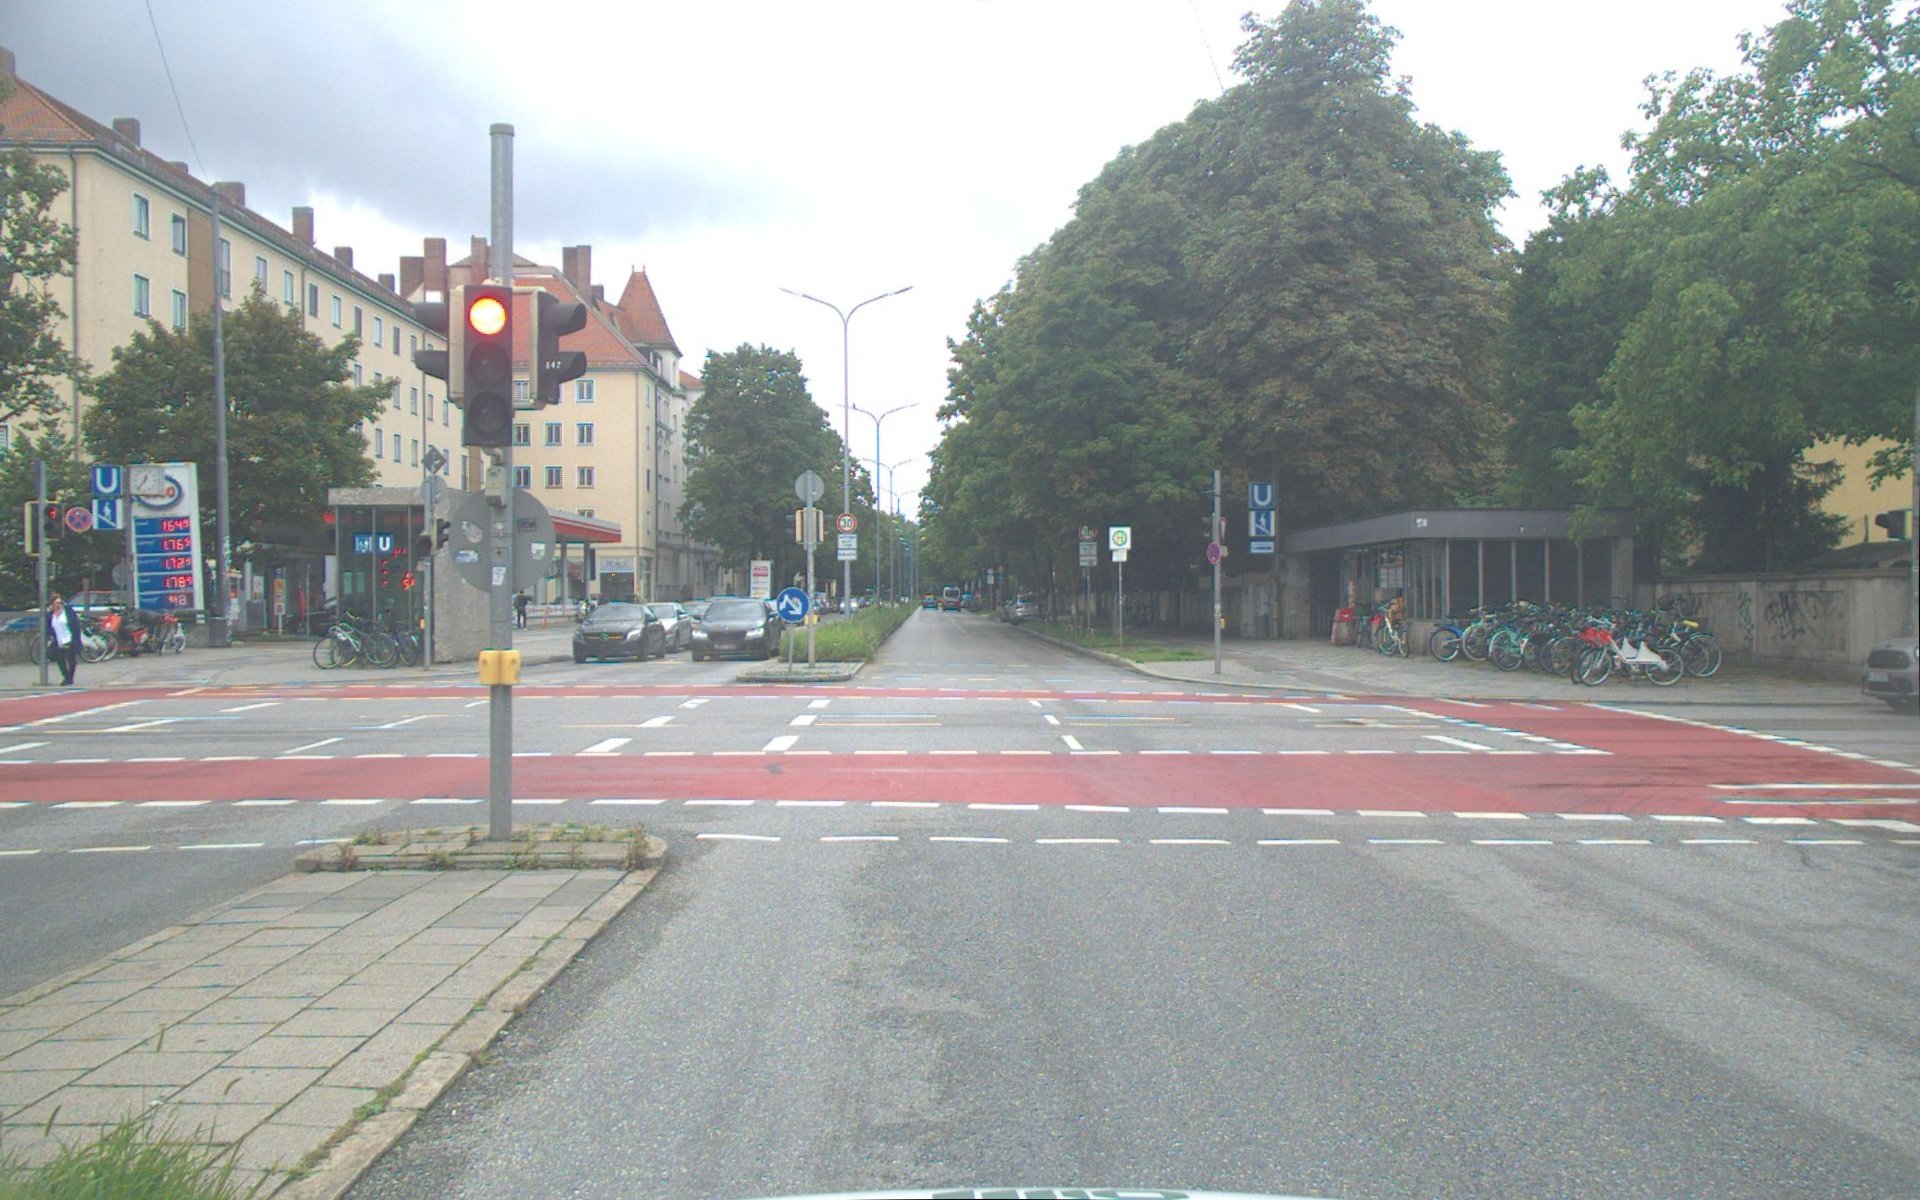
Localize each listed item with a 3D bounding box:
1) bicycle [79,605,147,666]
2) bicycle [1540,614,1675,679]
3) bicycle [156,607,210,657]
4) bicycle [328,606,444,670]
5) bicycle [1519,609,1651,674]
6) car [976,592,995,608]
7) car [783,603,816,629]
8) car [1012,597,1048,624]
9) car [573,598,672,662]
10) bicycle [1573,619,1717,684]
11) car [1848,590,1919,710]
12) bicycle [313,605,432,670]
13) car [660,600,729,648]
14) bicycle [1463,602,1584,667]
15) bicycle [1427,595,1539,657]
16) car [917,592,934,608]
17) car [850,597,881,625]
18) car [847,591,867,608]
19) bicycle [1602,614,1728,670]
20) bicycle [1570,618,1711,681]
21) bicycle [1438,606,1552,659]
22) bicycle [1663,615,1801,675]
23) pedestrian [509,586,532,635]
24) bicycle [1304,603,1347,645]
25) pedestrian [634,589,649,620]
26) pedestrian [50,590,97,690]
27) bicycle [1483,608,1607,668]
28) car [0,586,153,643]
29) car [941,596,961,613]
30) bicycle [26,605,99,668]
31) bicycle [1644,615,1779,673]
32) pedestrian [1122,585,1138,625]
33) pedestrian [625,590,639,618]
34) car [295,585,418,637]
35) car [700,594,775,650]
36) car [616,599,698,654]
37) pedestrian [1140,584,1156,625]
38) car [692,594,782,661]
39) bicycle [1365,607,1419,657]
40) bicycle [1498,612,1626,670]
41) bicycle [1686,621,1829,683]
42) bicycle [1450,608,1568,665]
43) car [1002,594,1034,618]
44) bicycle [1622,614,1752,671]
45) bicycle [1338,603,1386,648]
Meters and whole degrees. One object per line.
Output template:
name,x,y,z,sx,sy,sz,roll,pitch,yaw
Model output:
bicycle,-18.425,0.749,36.013,0.596,1.257,2.183,0,0,-7
bicycle,11.174,0.804,28.586,2.097,1.089,0.603,0,0,7
bicycle,-18.839,0.768,40.151,0.596,1.165,1.962,0,0,-7
bicycle,-12.289,0.803,35.429,2.238,1.327,0.694,0,0,0
bicycle,11.027,0.731,29.238,2.097,1.120,0.603,0,0,7
car,2.421,0.007,159.335,1.708,1.452,3.898,0,0,-1
car,-9.899,0.963,102.429,1.724,1.519,3.999,0,0,-1
car,3.771,0.560,89.764,1.708,1.387,3.805,0,0,-1
car,-8.369,0.716,41.300,1.724,1.486,3.999,0,0,-1
bicycle,11.223,0.843,27.158,2.097,1.032,0.603,0,0,7
car,14.310,0.626,22.019,4.082,1.540,1.695,0,0,0
bicycle,-12.299,0.778,34.649,2.225,1.327,0.704,0,0,0
car,-8.781,0.773,54.884,1.724,1.486,3.999,0,0,-1
bicycle,10.691,0.651,31.414,2.097,1.199,0.603,0,0,7
bicycle,10.647,0.527,33.715,2.097,1.240,0.603,0,0,7
car,-3.791,0.028,182.509,1.819,1.713,3.999,0,0,-1
car,-4.853,0.553,85.314,1.438,1.423,3.699,0,0,-1
car,-9.546,-0.066,153.527,1.724,1.486,3.999,0,0,-1
bicycle,13.312,0.786,31.270,2.097,1.032,0.634,0,0,7
bicycle,11.407,0.830,27.786,2.097,1.032,0.634,0,0,7
bicycle,10.660,0.650,32.996,2.097,1.032,0.603,0,0,7
bicycle,13.483,0.782,28.927,2.097,1.032,0.634,0,0,7
pedestrian,-18.808,0.454,70.739,0.715,2.049,0.834,1,-1,-1
bicycle,9.352,0.605,42.358,0.545,1.032,2.014,0,0,-3
pedestrian,-17.368,0.239,90.100,0.682,1.666,0.738,0,0,-1
pedestrian,-15.548,0.694,29.008,0.523,1.725,0.576,0,0,-5
bicycle,10.834,0.700,30.679,2.097,1.105,0.603,0,0,7
car,-26.261,0.412,48.955,3.881,1.637,1.813,0,0,-9
car,-0.883,0.437,163.092,1.884,1.713,3.999,0,0,-1
bicycle,-19.055,0.753,35.172,0.596,1.257,2.183,0,0,-7
bicycle,13.475,0.786,29.694,2.097,1.032,0.634,0,0,7
pedestrian,7.265,0.202,70.756,0.663,1.712,0.683,0,0,5
pedestrian,-20.199,0.250,101.921,0.682,1.666,0.738,0,0,-1
car,-22.358,0.407,61.404,3.908,1.870,1.879,0,0,-4
car,-6.422,0.608,48.076,1.724,1.519,3.999,0,0,-1
car,-8.783,0.739,48.220,1.724,1.486,3.999,0,0,-1
pedestrian,8.052,0.191,70.845,0.663,1.712,0.683,0,0,5
car,-5.400,0.633,40.446,1.724,1.519,3.999,0,0,-1
bicycle,9.442,0.690,36.206,0.545,1.032,2.014,0,0,-3
bicycle,10.887,0.737,29.950,2.097,1.032,0.603,0,0,7
bicycle,13.549,0.882,28.131,2.097,1.032,0.634,0,0,7
bicycle,10.648,0.712,32.115,2.097,1.080,0.603,0,0,7
car,3.504,0.345,99.842,1.708,1.387,3.805,0,0,-1
bicycle,13.380,0.785,30.486,2.097,1.032,0.634,0,0,7
bicycle,9.443,0.587,38.939,0.545,1.032,2.014,0,0,-3
